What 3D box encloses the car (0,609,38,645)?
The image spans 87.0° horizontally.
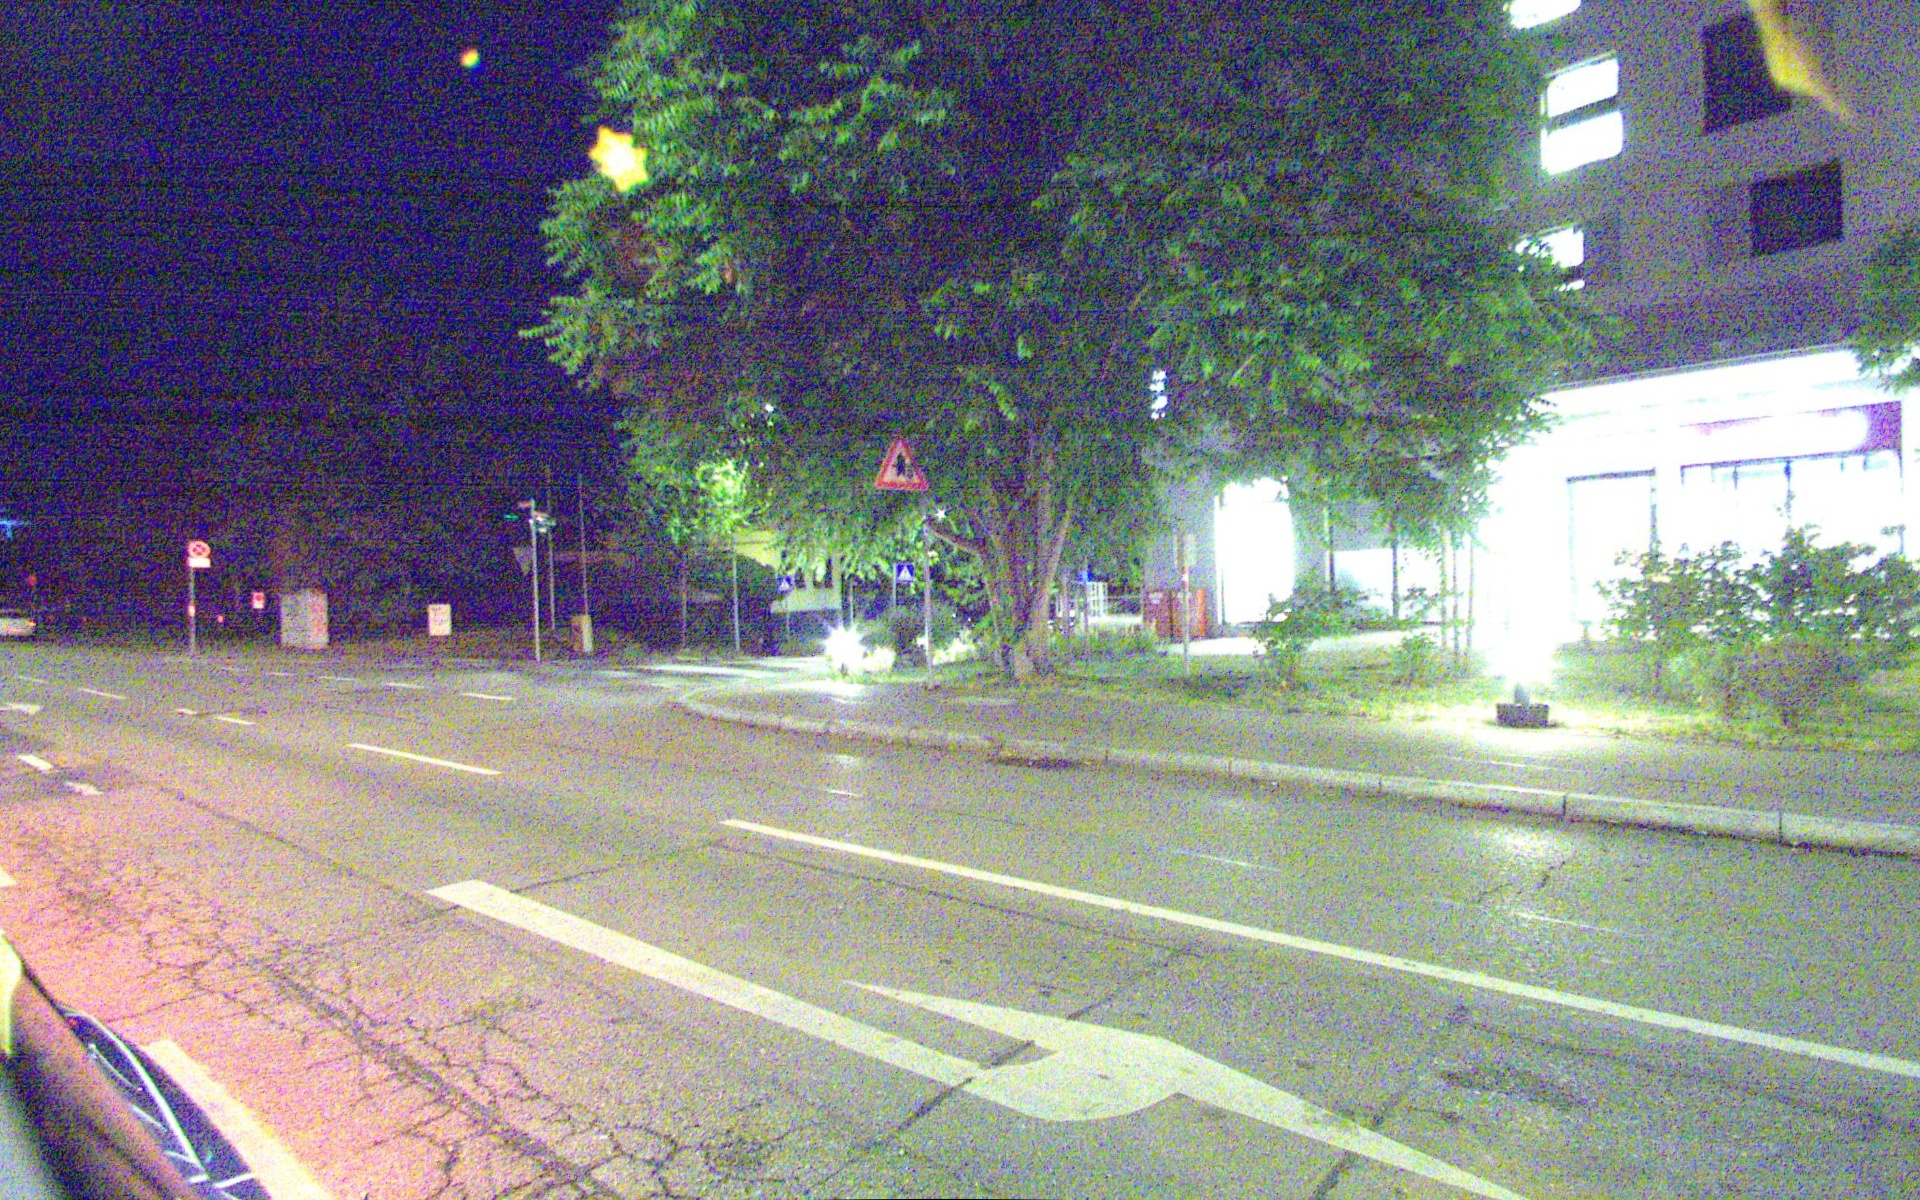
[{"bbox_3d":[-43.275,1.212,45.796,3.998,1.464,1.887,1,2,41],"label":"car"}]
